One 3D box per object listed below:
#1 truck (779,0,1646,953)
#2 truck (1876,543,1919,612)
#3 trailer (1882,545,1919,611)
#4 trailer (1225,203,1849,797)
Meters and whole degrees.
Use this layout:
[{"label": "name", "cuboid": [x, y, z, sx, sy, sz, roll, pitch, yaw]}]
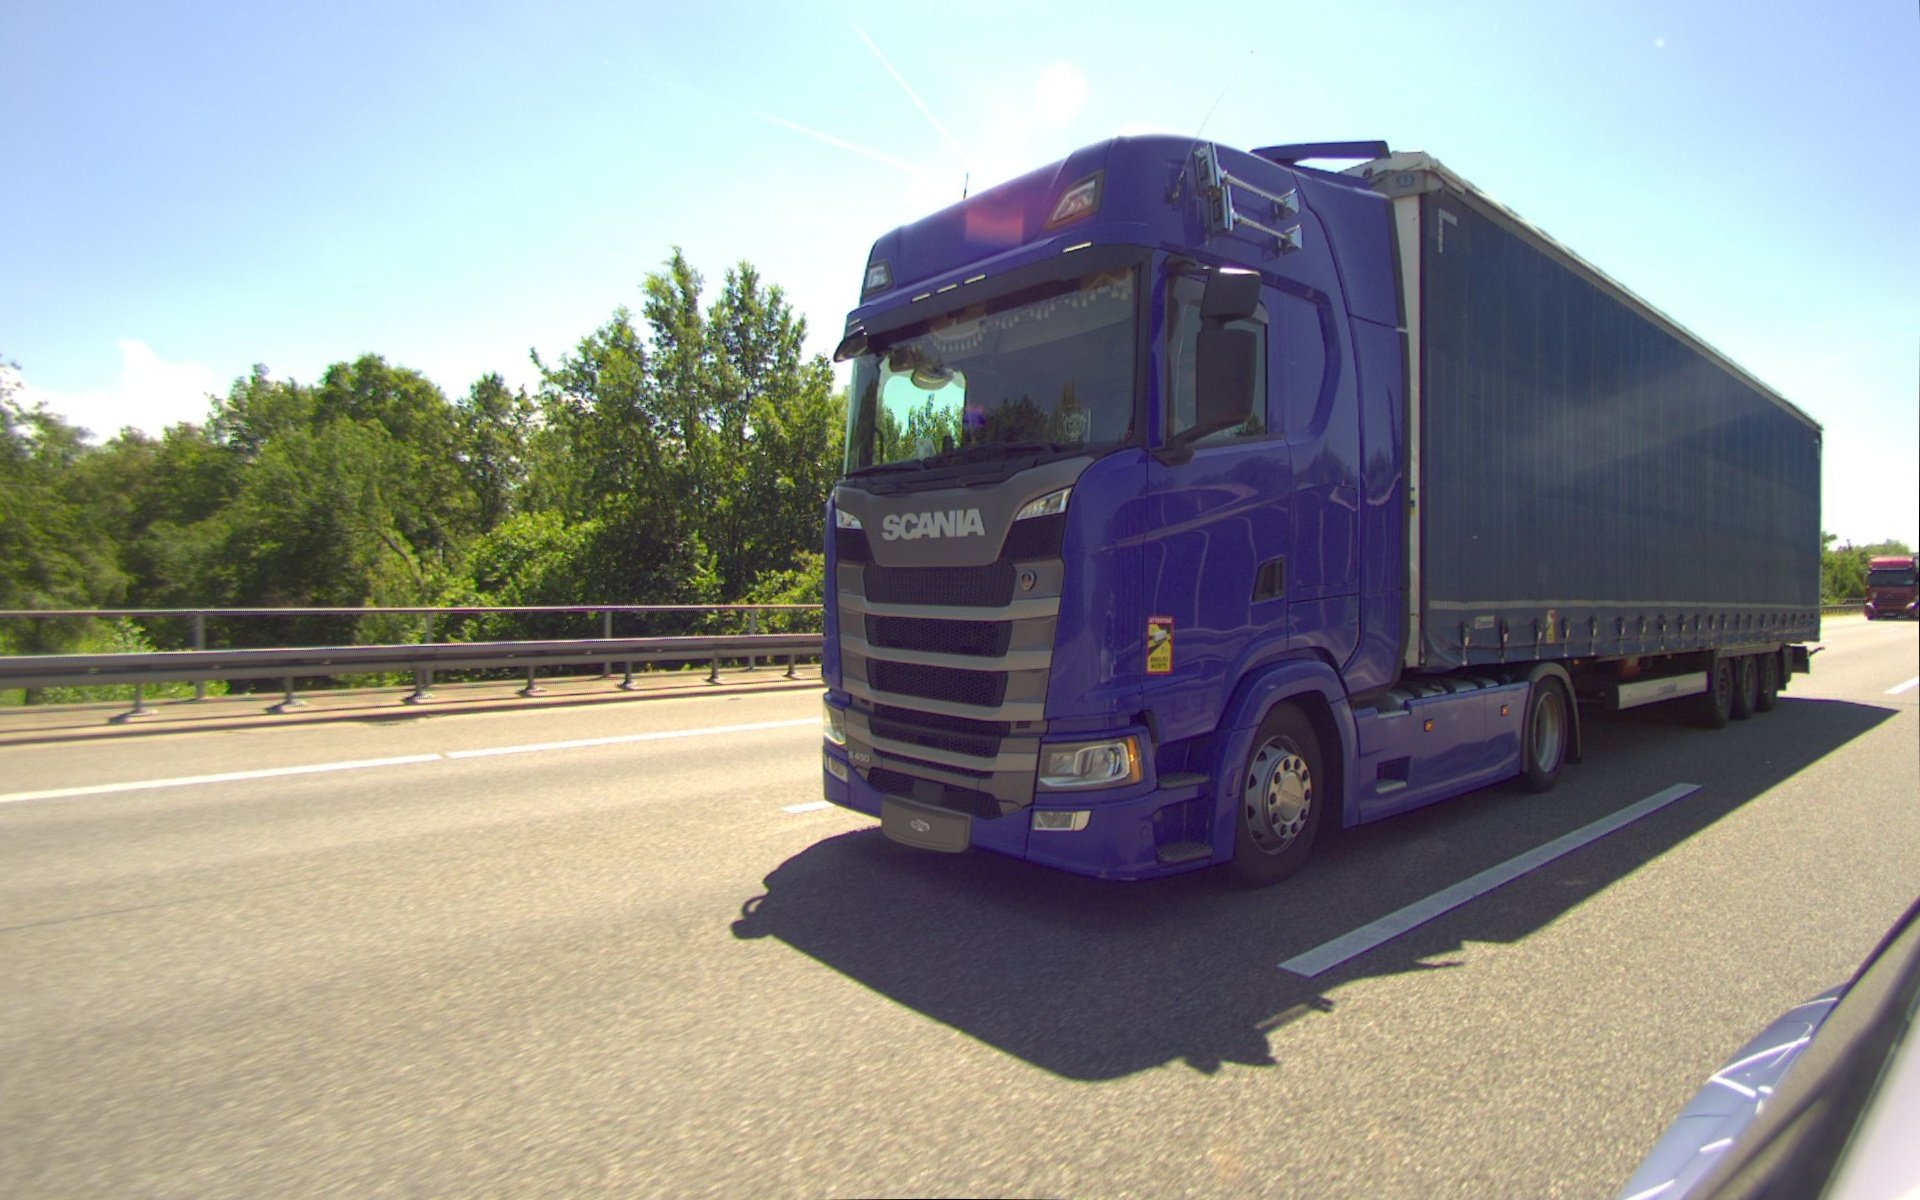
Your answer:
[{"label": "truck", "cuboid": [2.368, -0.719, 7.337, 6.869, 4.169, 2.705, 0, 1, -41]}, {"label": "truck", "cuboid": [60.361, -1.401, 64.033, 7.637, 4.169, 2.799, 0, 1, -42]}, {"label": "trailer", "cuboid": [64.272, -1.417, 67.596, 12.089, 4.169, 2.799, 0, 1, -42]}, {"label": "trailer", "cuboid": [7.774, -0.760, 12.070, 11.920, 4.169, 2.705, 0, 1, -41]}]
